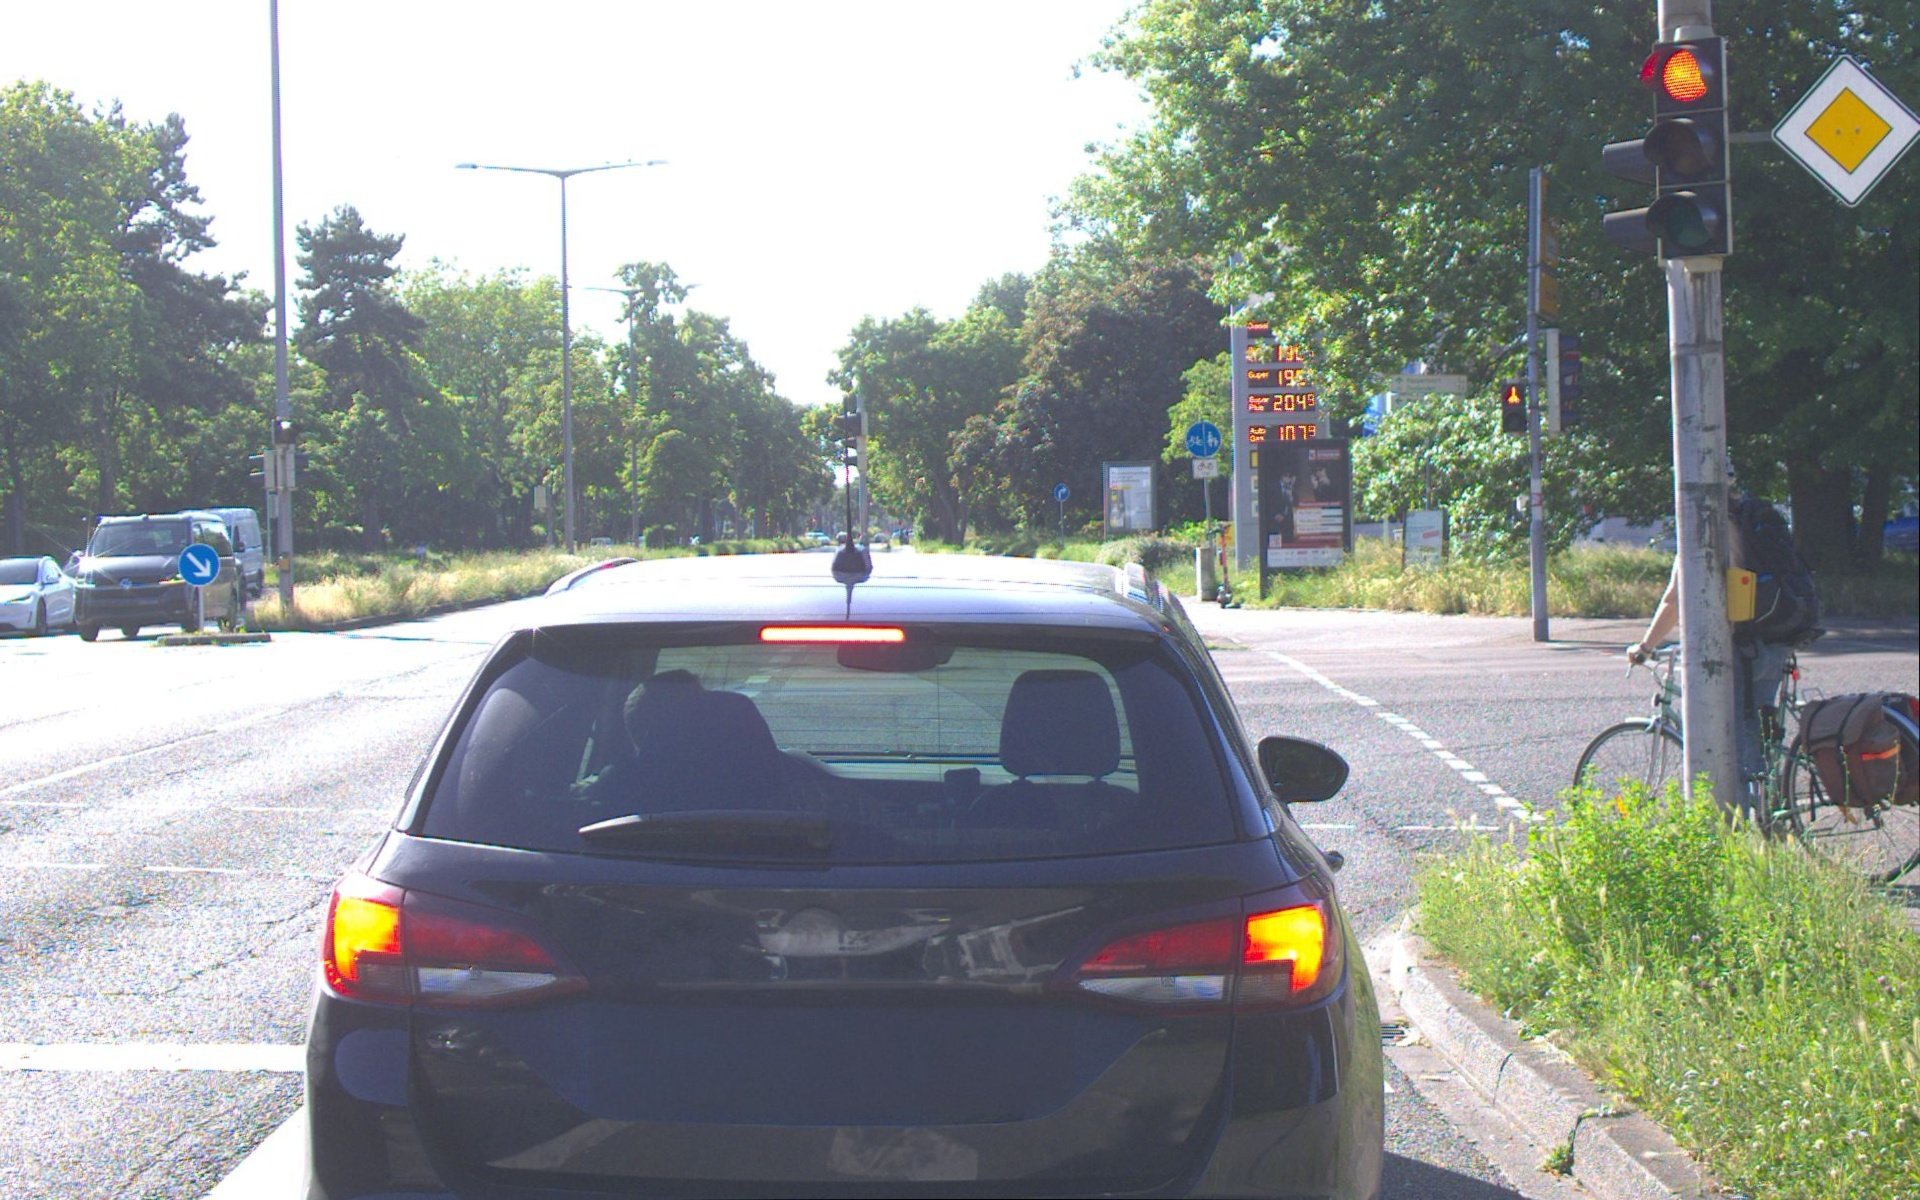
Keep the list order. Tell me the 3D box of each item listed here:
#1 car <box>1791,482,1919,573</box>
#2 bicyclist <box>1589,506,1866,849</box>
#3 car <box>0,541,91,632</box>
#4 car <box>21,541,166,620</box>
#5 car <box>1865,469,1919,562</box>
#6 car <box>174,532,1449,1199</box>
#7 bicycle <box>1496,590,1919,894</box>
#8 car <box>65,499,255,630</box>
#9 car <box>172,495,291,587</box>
[{"bbox_3d":[16.619,-1.289,59.807,3.887,1.512,1.746,-2,1,-23],"label":"car"},{"bbox_3d":[2.973,0.299,13.336,0.536,1.272,0.829,-3,0,-44],"label":"bicyclist"},{"bbox_3d":[-16.949,-0.256,61.052,1.888,1.519,4.504,-1,1,-1],"label":"car"},{"bbox_3d":[-16.888,-0.409,67.196,1.686,1.428,4.615,-2,1,-1],"label":"car"},{"bbox_3d":[17.095,-1.430,56.721,3.887,1.512,1.746,-2,1,-23],"label":"car"},{"bbox_3d":[-0.229,0.629,6.852,1.756,1.490,4.207,0,1,-1],"label":"car"},{"bbox_3d":[2.982,0.545,13.338,0.536,1.094,1.775,-3,0,-44],"label":"bicycle"},{"bbox_3d":[-12.905,-0.606,55.783,1.911,1.985,5.016,-1,1,-1],"label":"car"},{"bbox_3d":[-20.648,-1.682,97.647,2.100,2.484,6.004,-2,1,-1],"label":"car"}]
